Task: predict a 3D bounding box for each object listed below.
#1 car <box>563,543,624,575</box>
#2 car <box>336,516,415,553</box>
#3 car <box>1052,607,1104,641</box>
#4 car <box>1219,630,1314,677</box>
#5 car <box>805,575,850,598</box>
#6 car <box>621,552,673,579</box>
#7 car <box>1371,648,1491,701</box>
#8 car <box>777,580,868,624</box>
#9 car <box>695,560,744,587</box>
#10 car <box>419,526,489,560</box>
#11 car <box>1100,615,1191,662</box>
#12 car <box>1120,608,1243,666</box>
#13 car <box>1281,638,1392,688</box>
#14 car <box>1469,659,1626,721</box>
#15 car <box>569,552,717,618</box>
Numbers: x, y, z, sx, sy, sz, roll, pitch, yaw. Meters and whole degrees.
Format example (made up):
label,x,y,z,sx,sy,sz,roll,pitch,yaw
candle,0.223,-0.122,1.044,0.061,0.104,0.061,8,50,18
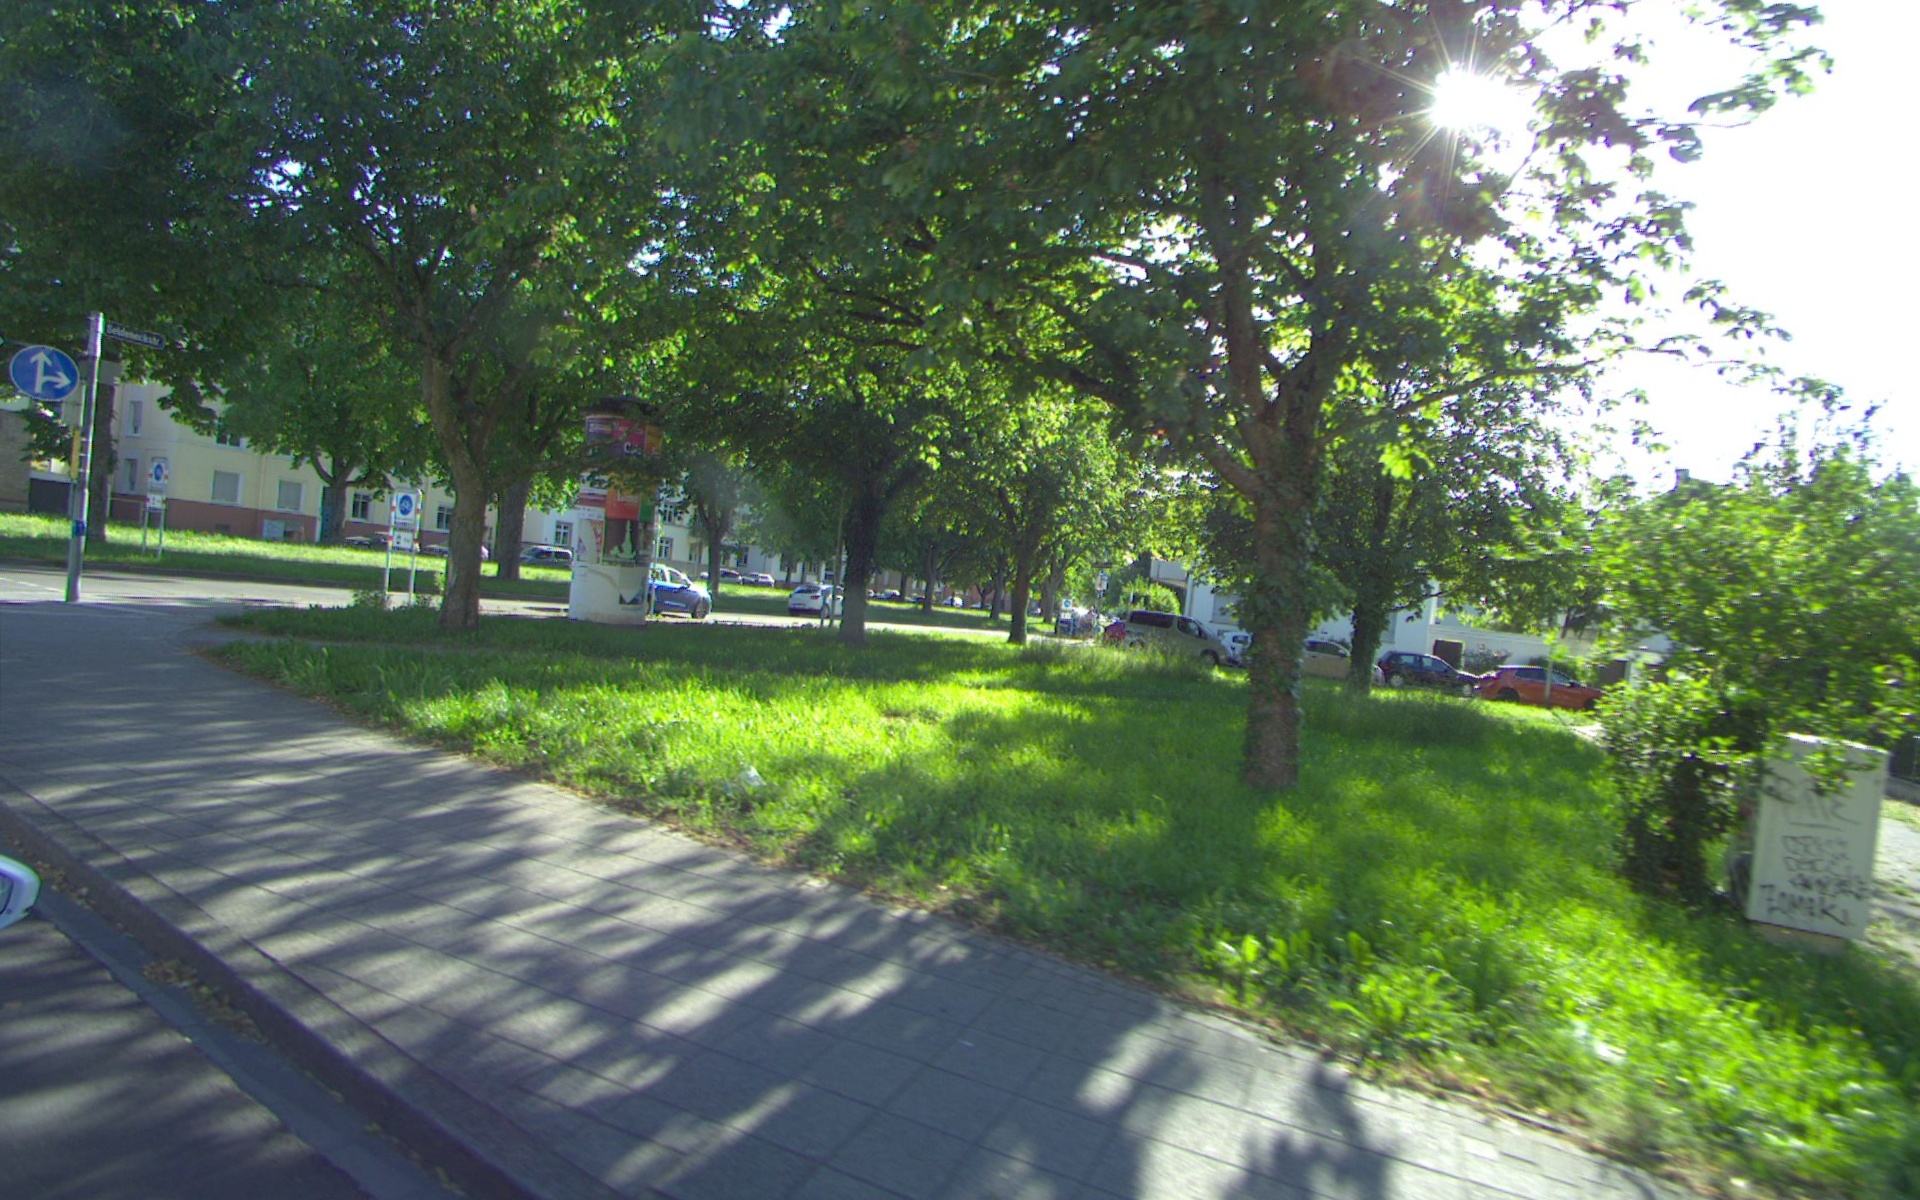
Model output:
label,x,y,z,sx,sy,sz,roll,pitch,yaw
car,-26.773,-3.004,73.579,1.730,1.839,4.003,7,1,26
car,-37.665,-4.217,64.888,1.730,1.839,3.964,7,1,26
car,7.077,1.452,60.086,1.642,1.696,3.803,7,1,28
car,12.984,2.235,42.646,3.535,1.503,1.635,7,1,25
car,-13.354,-1.380,101.408,1.958,1.838,4.826,7,1,27
car,-26.852,-2.931,86.422,1.730,1.839,4.106,7,1,26
car,18.545,2.908,39.771,3.927,1.503,1.797,7,1,17
car,-5.640,0.109,41.646,1.715,1.459,3.803,7,1,28
car,-20.578,-2.253,86.291,1.730,1.839,4.003,7,1,26
car,-34.970,-3.927,69.576,1.730,1.839,3.964,7,1,26
car,8.271,1.702,44.838,3.533,1.635,1.636,7,1,23
car,8.232,1.358,37.391,4.025,1.635,1.634,7,1,29
car,12.985,2.166,34.744,3.261,1.271,1.447,7,1,31
car,18.679,2.834,32.127,3.938,1.361,1.465,7,1,13
car,-8.723,-0.359,28.026,1.757,1.467,3.999,7,0,20
